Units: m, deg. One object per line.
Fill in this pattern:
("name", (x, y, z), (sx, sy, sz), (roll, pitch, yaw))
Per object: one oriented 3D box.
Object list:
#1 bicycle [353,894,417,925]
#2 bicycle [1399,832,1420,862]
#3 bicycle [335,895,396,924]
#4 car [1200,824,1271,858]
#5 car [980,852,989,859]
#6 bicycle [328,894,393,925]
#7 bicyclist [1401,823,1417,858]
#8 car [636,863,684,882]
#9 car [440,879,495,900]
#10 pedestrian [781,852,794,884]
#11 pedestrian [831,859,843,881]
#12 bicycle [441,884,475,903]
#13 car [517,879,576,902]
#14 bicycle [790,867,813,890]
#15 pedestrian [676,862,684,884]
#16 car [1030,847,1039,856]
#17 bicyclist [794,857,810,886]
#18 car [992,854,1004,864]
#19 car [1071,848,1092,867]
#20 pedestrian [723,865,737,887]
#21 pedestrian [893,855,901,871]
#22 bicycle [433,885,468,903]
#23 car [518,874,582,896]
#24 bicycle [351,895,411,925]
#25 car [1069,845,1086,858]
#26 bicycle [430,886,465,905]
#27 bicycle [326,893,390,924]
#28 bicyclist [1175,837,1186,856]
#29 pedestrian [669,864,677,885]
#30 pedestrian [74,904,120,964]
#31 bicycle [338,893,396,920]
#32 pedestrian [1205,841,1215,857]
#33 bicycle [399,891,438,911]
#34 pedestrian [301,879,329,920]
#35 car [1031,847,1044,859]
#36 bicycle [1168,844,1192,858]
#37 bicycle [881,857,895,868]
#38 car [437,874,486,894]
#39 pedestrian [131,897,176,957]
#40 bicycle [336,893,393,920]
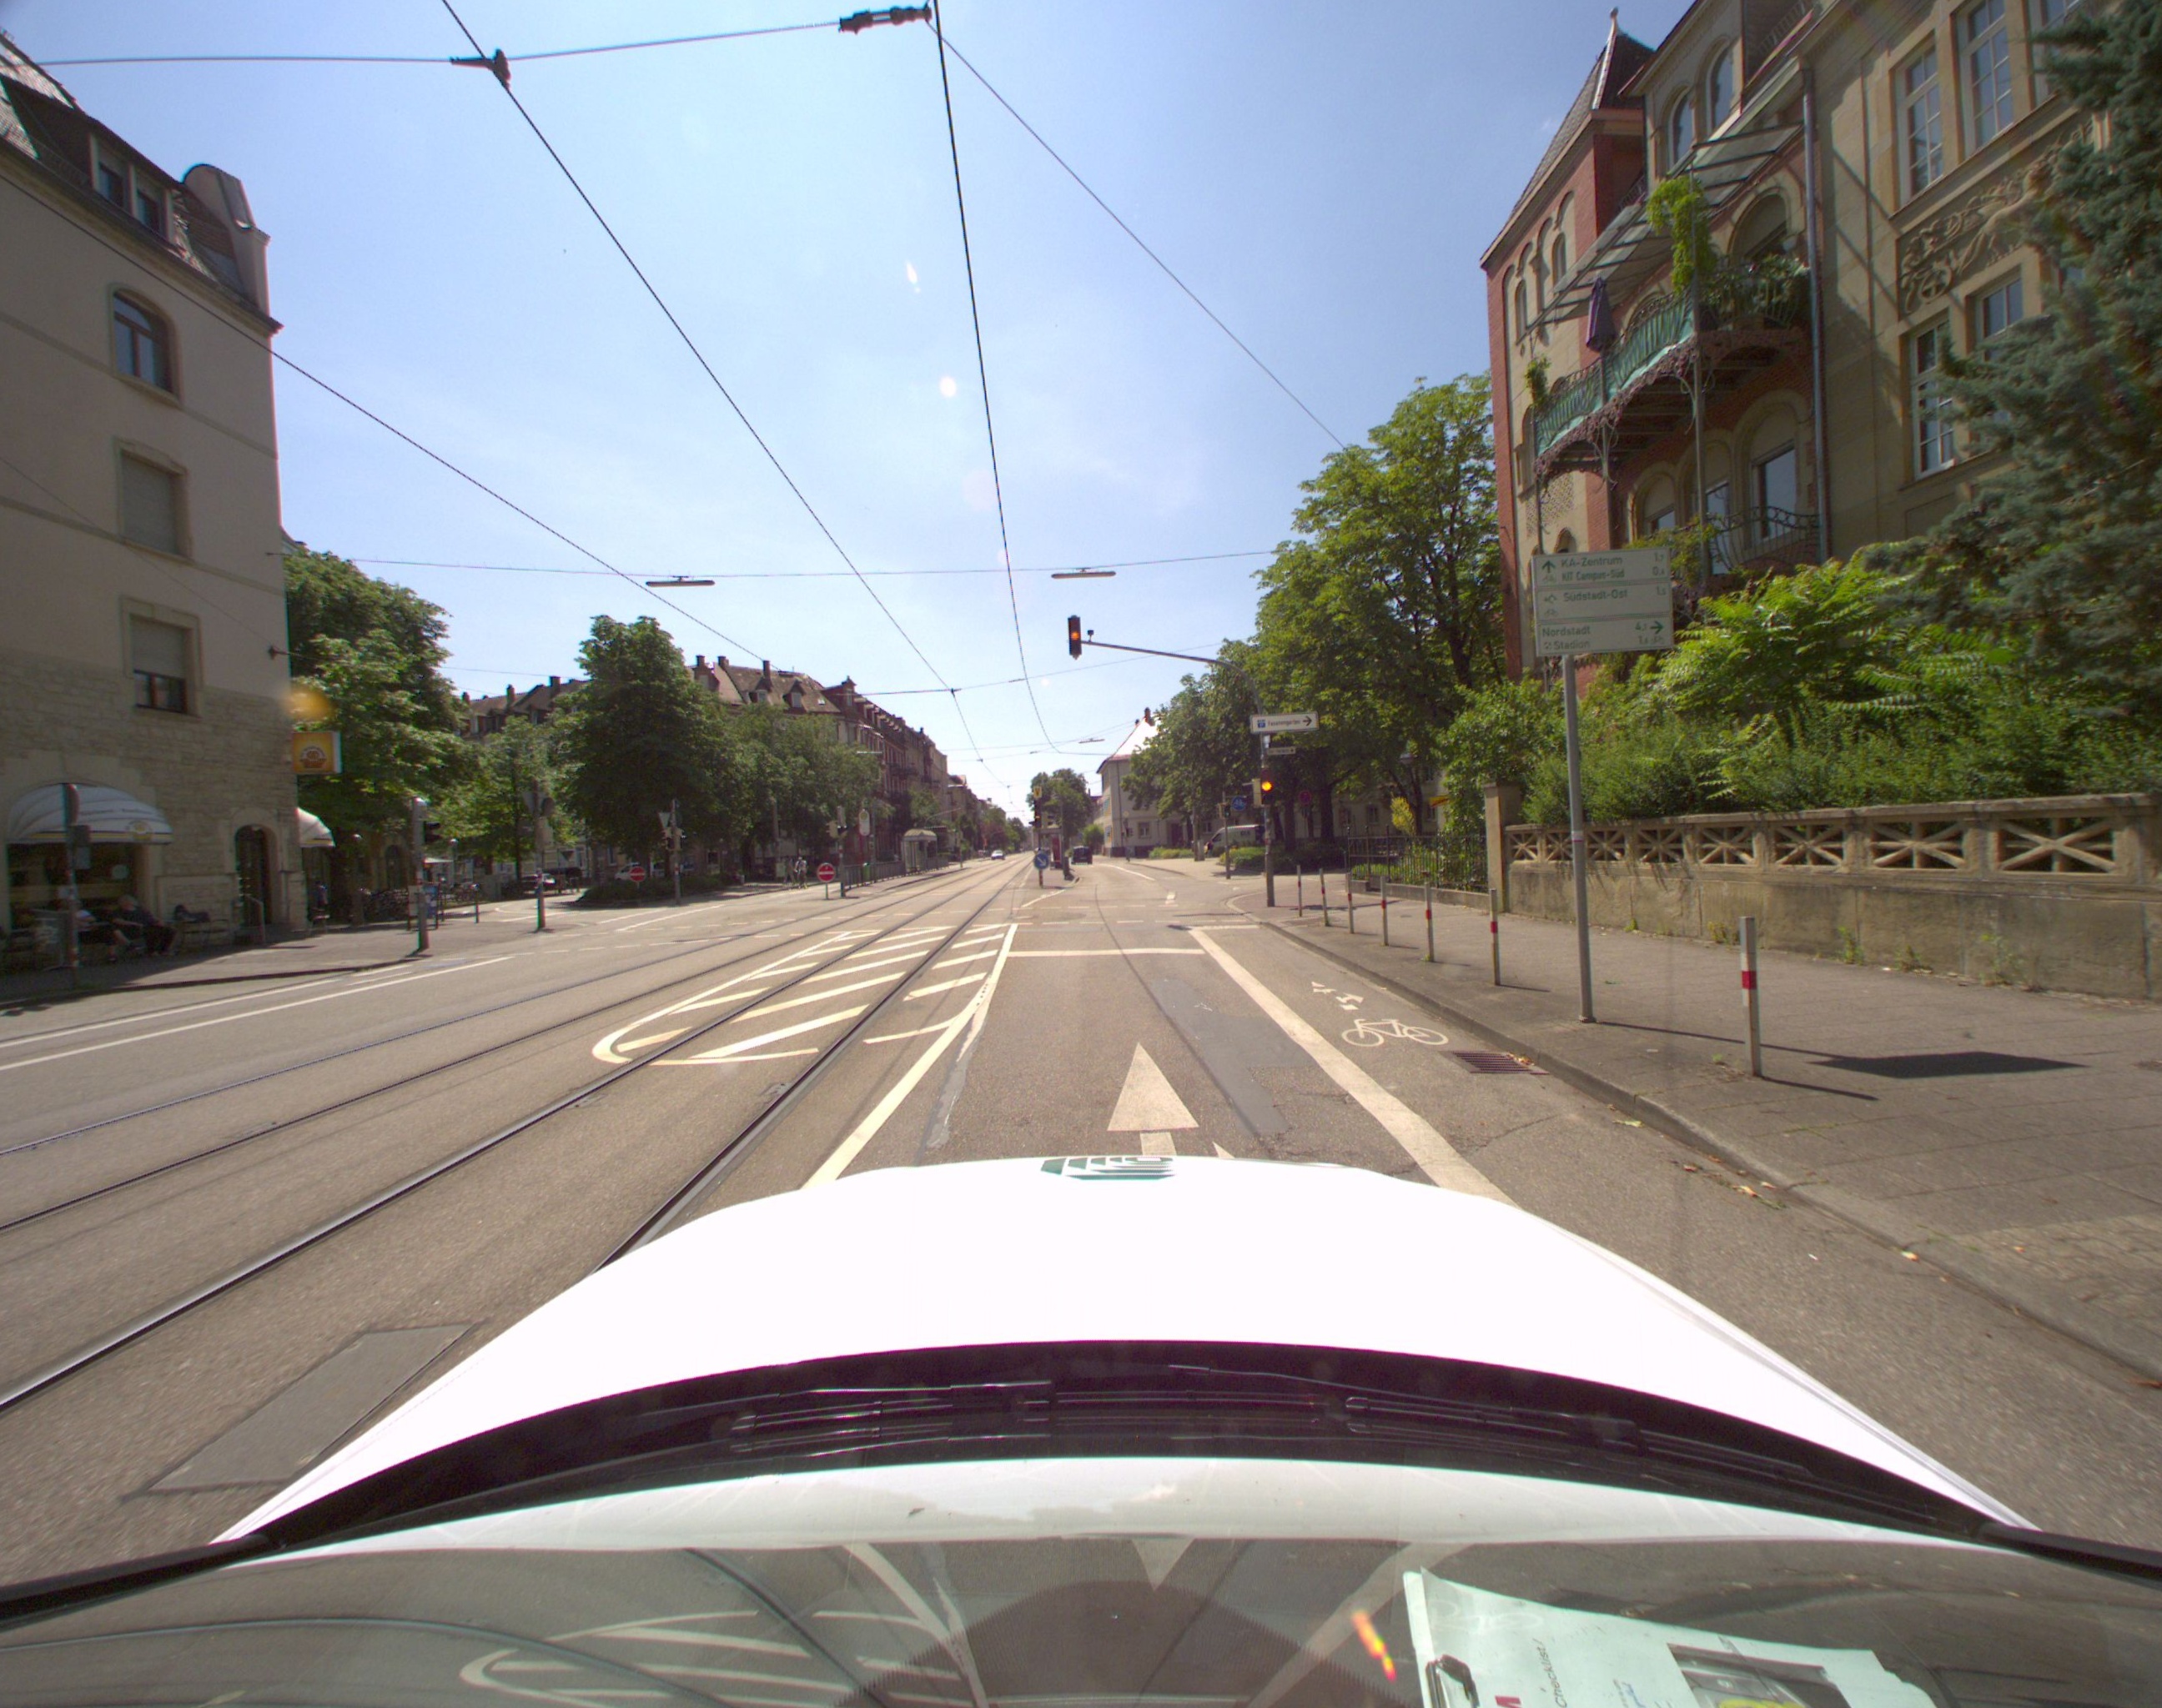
("bicycle", (-24.685, 1.969, 28.917), (0.286, 0.974, 1.683), (-2, 0, 39))
("bicycle", (17.061, -0.352, 42.349), (0.587, 1.485, 2.175), (-2, 0, 12))
("bicycle", (-26.921, 2.067, 30.670), (0.286, 0.974, 1.683), (-2, 0, 39))
("car", (13.066, -1.052, 69.407), (2.011, 2.589, 5.779), (-3, 0, -43))
("car", (-21.001, 0.361, 177.457), (1.682, 1.472, 3.930), (-6, 0, -6))
("bicycle", (-25.673, 1.949, 29.038), (0.286, 0.974, 1.683), (-2, 0, 39))
("bicyclist", (17.032, -0.689, 42.306), (0.598, 1.799, 0.536), (-2, 0, 12))
("car", (-36.283, 1.592, 70.216), (3.697, 1.442, 1.549), (-2, 0, 21))
("car", (-46.643, 2.697, 61.951), (3.697, 1.442, 1.549), (-2, 0, 21))
("pedestrian", (-17.682, 0.830, 49.075), (0.508, 1.879, 0.494), (-2, 0, 1))
("pedestrian", (-18.261, 1.157, 60.905), (0.679, 1.605, 0.771), (-2, 0, -7))
("bicycle", (-35.230, 2.229, 46.069), (1.487, 0.956, 0.407), (-2, 0, -14))
("car", (-41.824, 2.830, 63.800), (3.559, 1.575, 1.585), (-2, 0, 5))
("bicycle", (-15.185, 1.322, 44.356), (0.627, 1.157, 1.976), (-2, 0, -3))
("pedestrian", (-34.099, 1.617, 69.298), (0.565, 1.825, 0.630), (-2, 0, -25))
("car", (-10.974, -0.491, 192.136), (2.042, 2.013, 4.602), (-2, 0, -3))
("bicyclist", (-15.203, 0.953, 44.408), (0.607, 1.574, 0.584), (-2, 0, -3))
("car", (-12.509, 0.742, 122.901), (1.538, 1.338, 3.713), (-2, 0, -5))
("car", (-0.009, 0.262, 68.596), (1.521, 1.444, 3.361), (-4, 0, -3))
("pedestrian", (-20.828, 1.284, 48.276), (0.553, 1.256, 0.638), (-2, -1, -43))
("pedestrian", (-19.016, 0.898, 84.112), (0.464, 1.615, 0.657), (1, 2, 44))
("bicycle", (-35.228, 2.231, 45.529), (1.487, 0.956, 0.407), (-2, 0, -14))
("car", (-39.158, 2.298, 60.122), (3.712, 1.442, 1.543), (-2, 0, 4))
("bicycle", (-26.346, 2.092, 30.677), (0.286, 0.974, 1.683), (-2, 0, 39))
("car", (-0.474, -0.319, 100.929), (1.744, 1.472, 3.933), (-6, 0, -4))
("bicycle", (-35.011, 2.283, 45.027), (1.487, 0.956, 0.407), (-2, 0, -14))
("bicycle", (-26.030, 1.947, 29.338), (0.286, 0.974, 1.683), (-2, 0, 39))
("bicyclist", (9.035, -0.696, 74.010), (0.687, 1.646, 0.584), (-2, 0, 30))
("pedestrian", (-34.978, 1.733, 69.802), (0.509, 1.768, 0.524), (-2, 0, -25))
("pedestrian", (-18.586, 1.507, 15.384), (0.354, 1.089, 0.405), (-2, 0, -7))
("bicycle", (-28.423, 2.074, 32.425), (0.286, 0.974, 1.683), (-2, 0, 39))
("pedestrian", (8.953, -0.332, 56.494), (0.507, 1.092, 0.478), (-5, 1, 2))
("bicycle", (-34.039, 2.409, 41.834), (1.487, 0.956, 0.407), (-2, 0, -14))
("pedestrian", (-34.468, 2.023, 36.629), (0.607, 1.776, 0.625), (-2, 0, 1))
("car", (-6.045, -0.164, 113.149), (1.524, 1.456, 3.355), (-4, 0, -8))
("bicycle", (9.027, -0.257, 74.042), (2.061, 1.236, 0.584), (-2, 0, 30))
("bicycle", (-20.484, 0.897, 86.329), (0.360, 1.169, 1.529), (-1, 1, 40))
("car", (-58.100, 2.845, 76.348), (3.953, 1.618, 1.769), (-3, 0, 21))
("pedestrian", (-18.564, 1.446, 16.300), (0.405, 1.148, 0.405), (-2, 0, -7))
("bicycle", (-28.730, 2.088, 32.665), (0.286, 0.974, 1.683), (-2, 0, 39))
